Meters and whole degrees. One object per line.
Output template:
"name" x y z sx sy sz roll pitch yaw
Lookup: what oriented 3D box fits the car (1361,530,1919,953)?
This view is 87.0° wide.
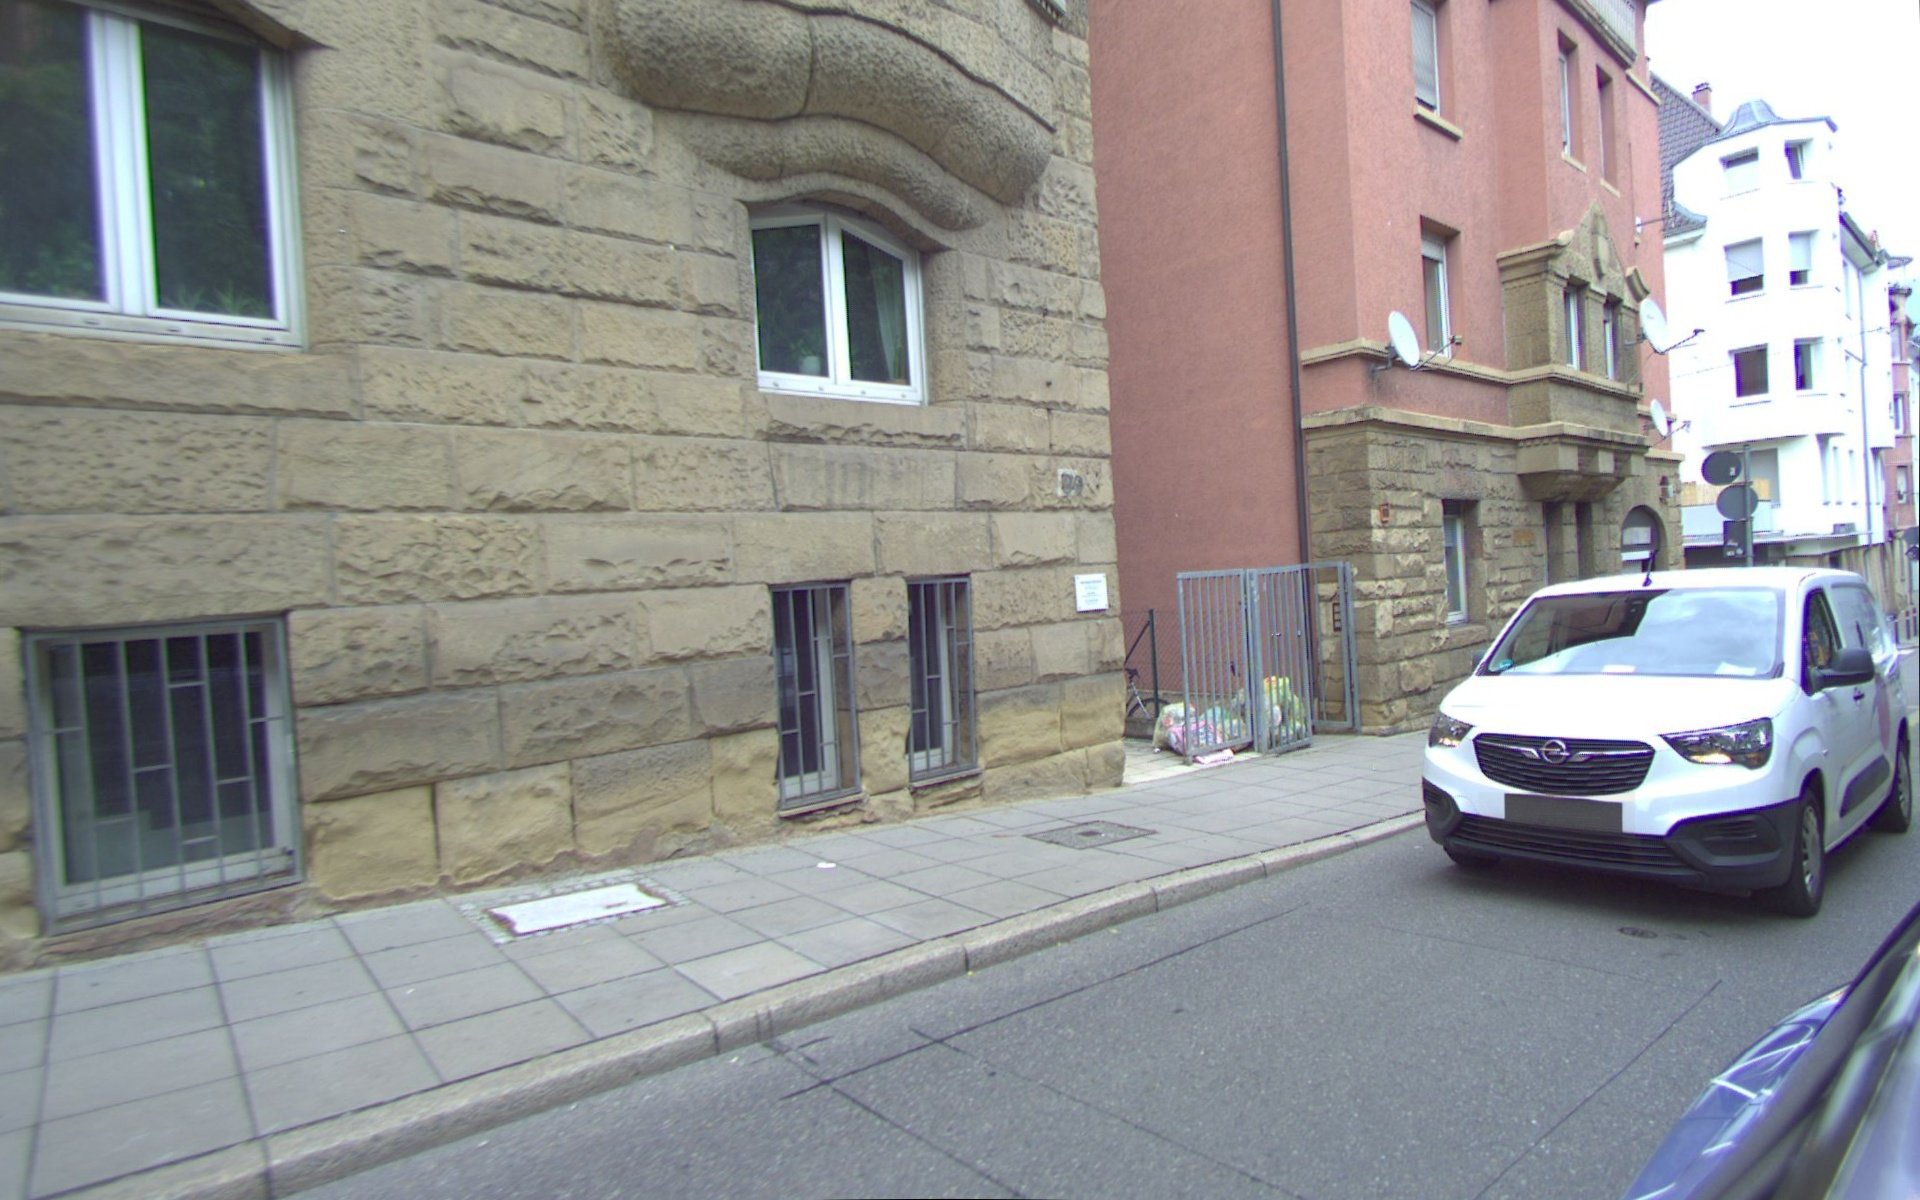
"car" 4.914 0.559 6.660 4.929 1.848 1.854 -3 -1 -37

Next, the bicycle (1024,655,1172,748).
"bicycle" 1.733 1.326 13.010 0.542 1.056 1.924 -1 -6 -41
